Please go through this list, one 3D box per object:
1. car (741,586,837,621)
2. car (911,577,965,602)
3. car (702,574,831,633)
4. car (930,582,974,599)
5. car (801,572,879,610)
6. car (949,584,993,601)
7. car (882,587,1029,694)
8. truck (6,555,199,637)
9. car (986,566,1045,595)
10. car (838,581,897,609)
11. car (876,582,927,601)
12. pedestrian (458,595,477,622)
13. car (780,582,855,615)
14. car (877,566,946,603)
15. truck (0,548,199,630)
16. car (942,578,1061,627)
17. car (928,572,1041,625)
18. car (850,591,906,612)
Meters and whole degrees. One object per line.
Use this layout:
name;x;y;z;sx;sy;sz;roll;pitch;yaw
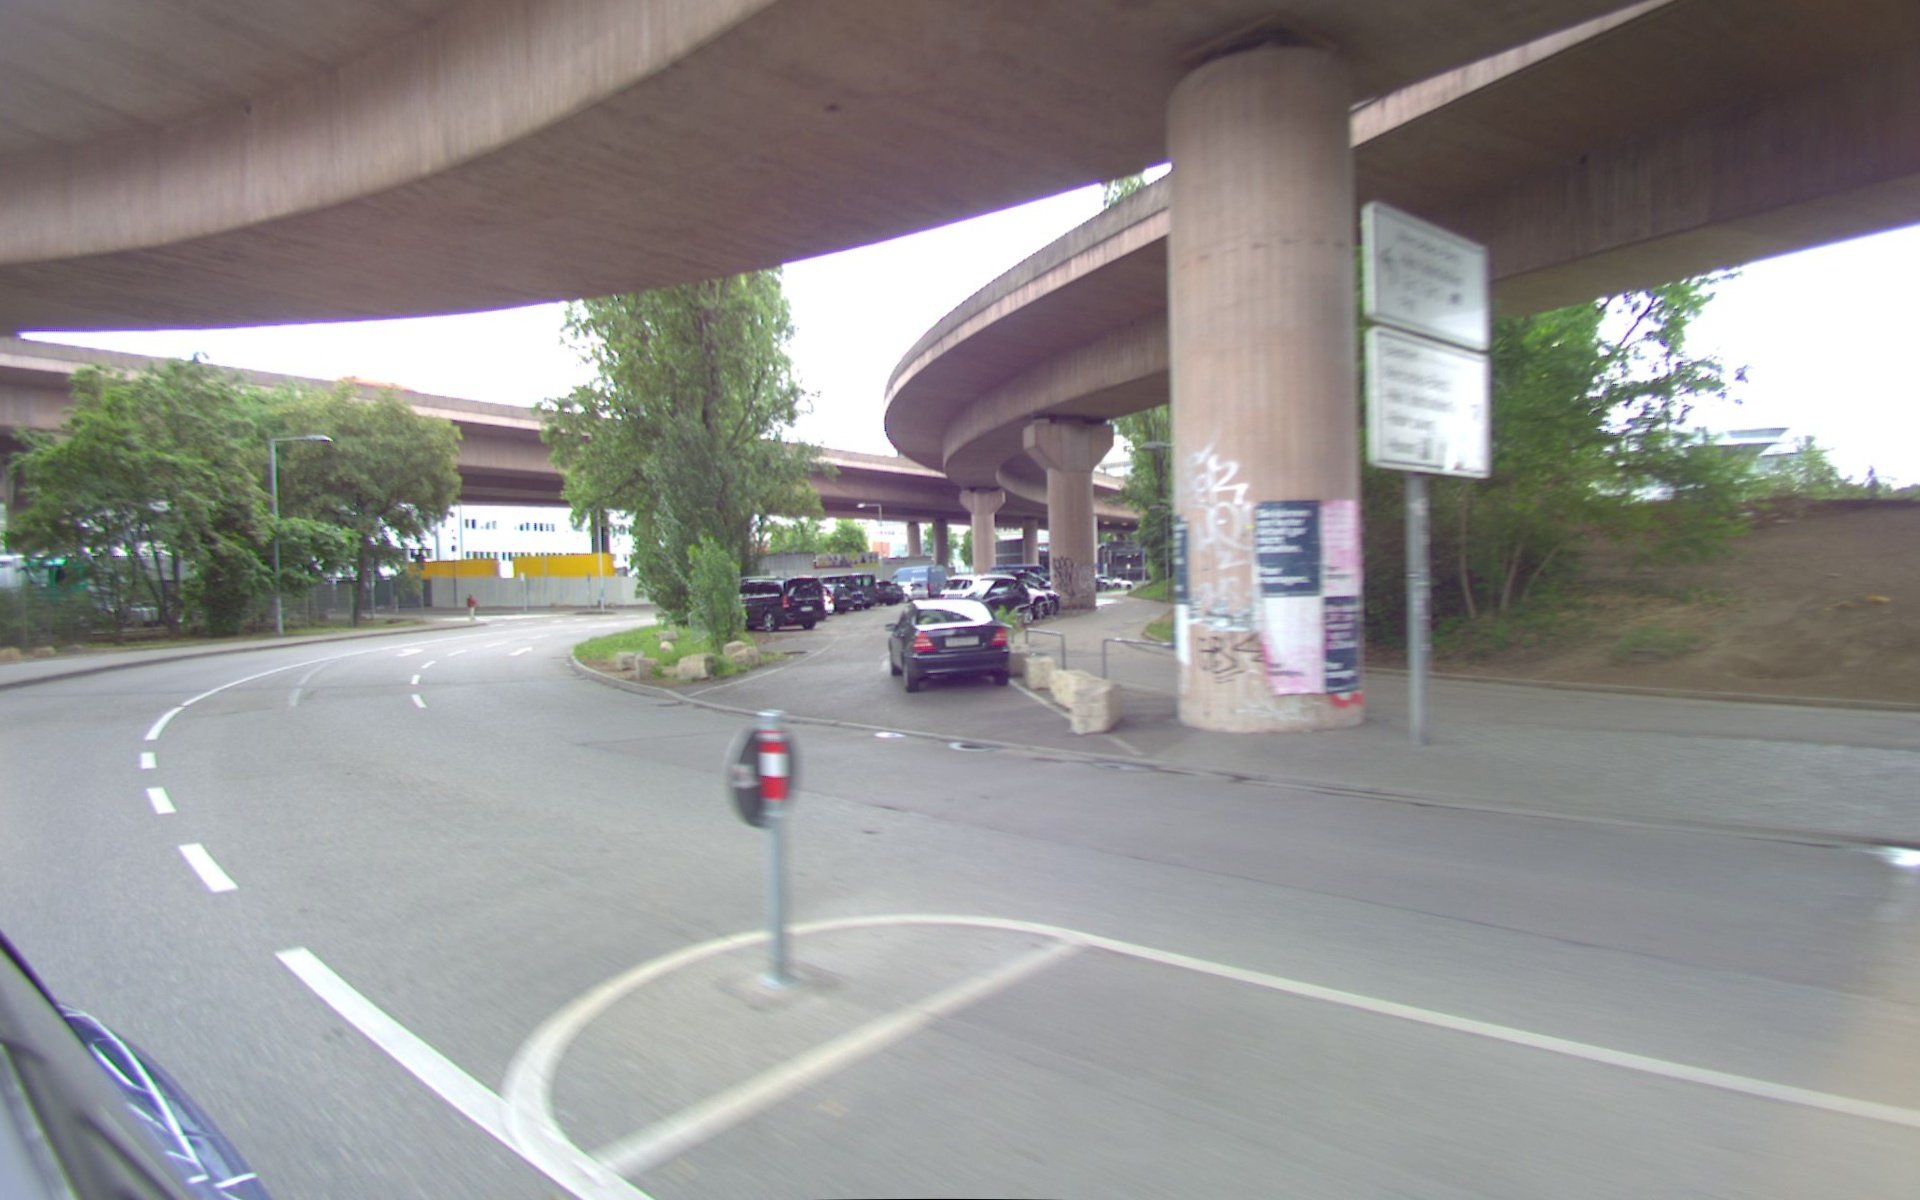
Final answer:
car;-7.362;0.117;43.292;4.517;1.374;1.672;0;2;43
car;-1.776;-0.834;78.903;1.610;1.870;4.497;1;1;-43
car;-6.951;0.097;35.992;4.972;1.931;1.832;0;2;42
car;-0.674;-0.779;80.999;1.336;1.243;3.631;1;1;-44
car;-6.803;-0.520;56.939;1.828;2.029;4.726;1;1;-45
car;0.876;-0.597;82.054;1.336;1.243;3.631;1;1;-44
car;-0.242;0.564;17.244;1.800;1.441;4.782;-4;1;-8
truck;-38.530;-0.228;45.759;2.255;3.434;6.367;0;1;21
car;3.673;-1.267;66.795;3.481;1.813;1.648;-2;1;-22
car;-5.706;-0.323;62.229;3.622;1.576;1.339;2;1;37
car;-4.152;-0.592;71.586;3.626;1.243;1.338;2;1;40
pedestrian;-30.823;0.537;63.330;0.743;1.693;0.855;-1;1;-4
car;-6.990;-0.086;49.606;3.627;1.547;1.673;1;2;42
car;-3.615;-1.179;75.008;1.801;2.600;5.694;1;1;-43
truck;-41.539;-0.531;47.232;2.253;3.524;10.153;0;1;19
car;1.389;0.053;33.229;3.807;1.475;1.542;-2;2;-39
car;0.909;-0.100;35.866;1.736;1.720;4.005;0;2;44
car;-5.285;0.065;65.396;3.622;1.243;1.339;2;1;37
